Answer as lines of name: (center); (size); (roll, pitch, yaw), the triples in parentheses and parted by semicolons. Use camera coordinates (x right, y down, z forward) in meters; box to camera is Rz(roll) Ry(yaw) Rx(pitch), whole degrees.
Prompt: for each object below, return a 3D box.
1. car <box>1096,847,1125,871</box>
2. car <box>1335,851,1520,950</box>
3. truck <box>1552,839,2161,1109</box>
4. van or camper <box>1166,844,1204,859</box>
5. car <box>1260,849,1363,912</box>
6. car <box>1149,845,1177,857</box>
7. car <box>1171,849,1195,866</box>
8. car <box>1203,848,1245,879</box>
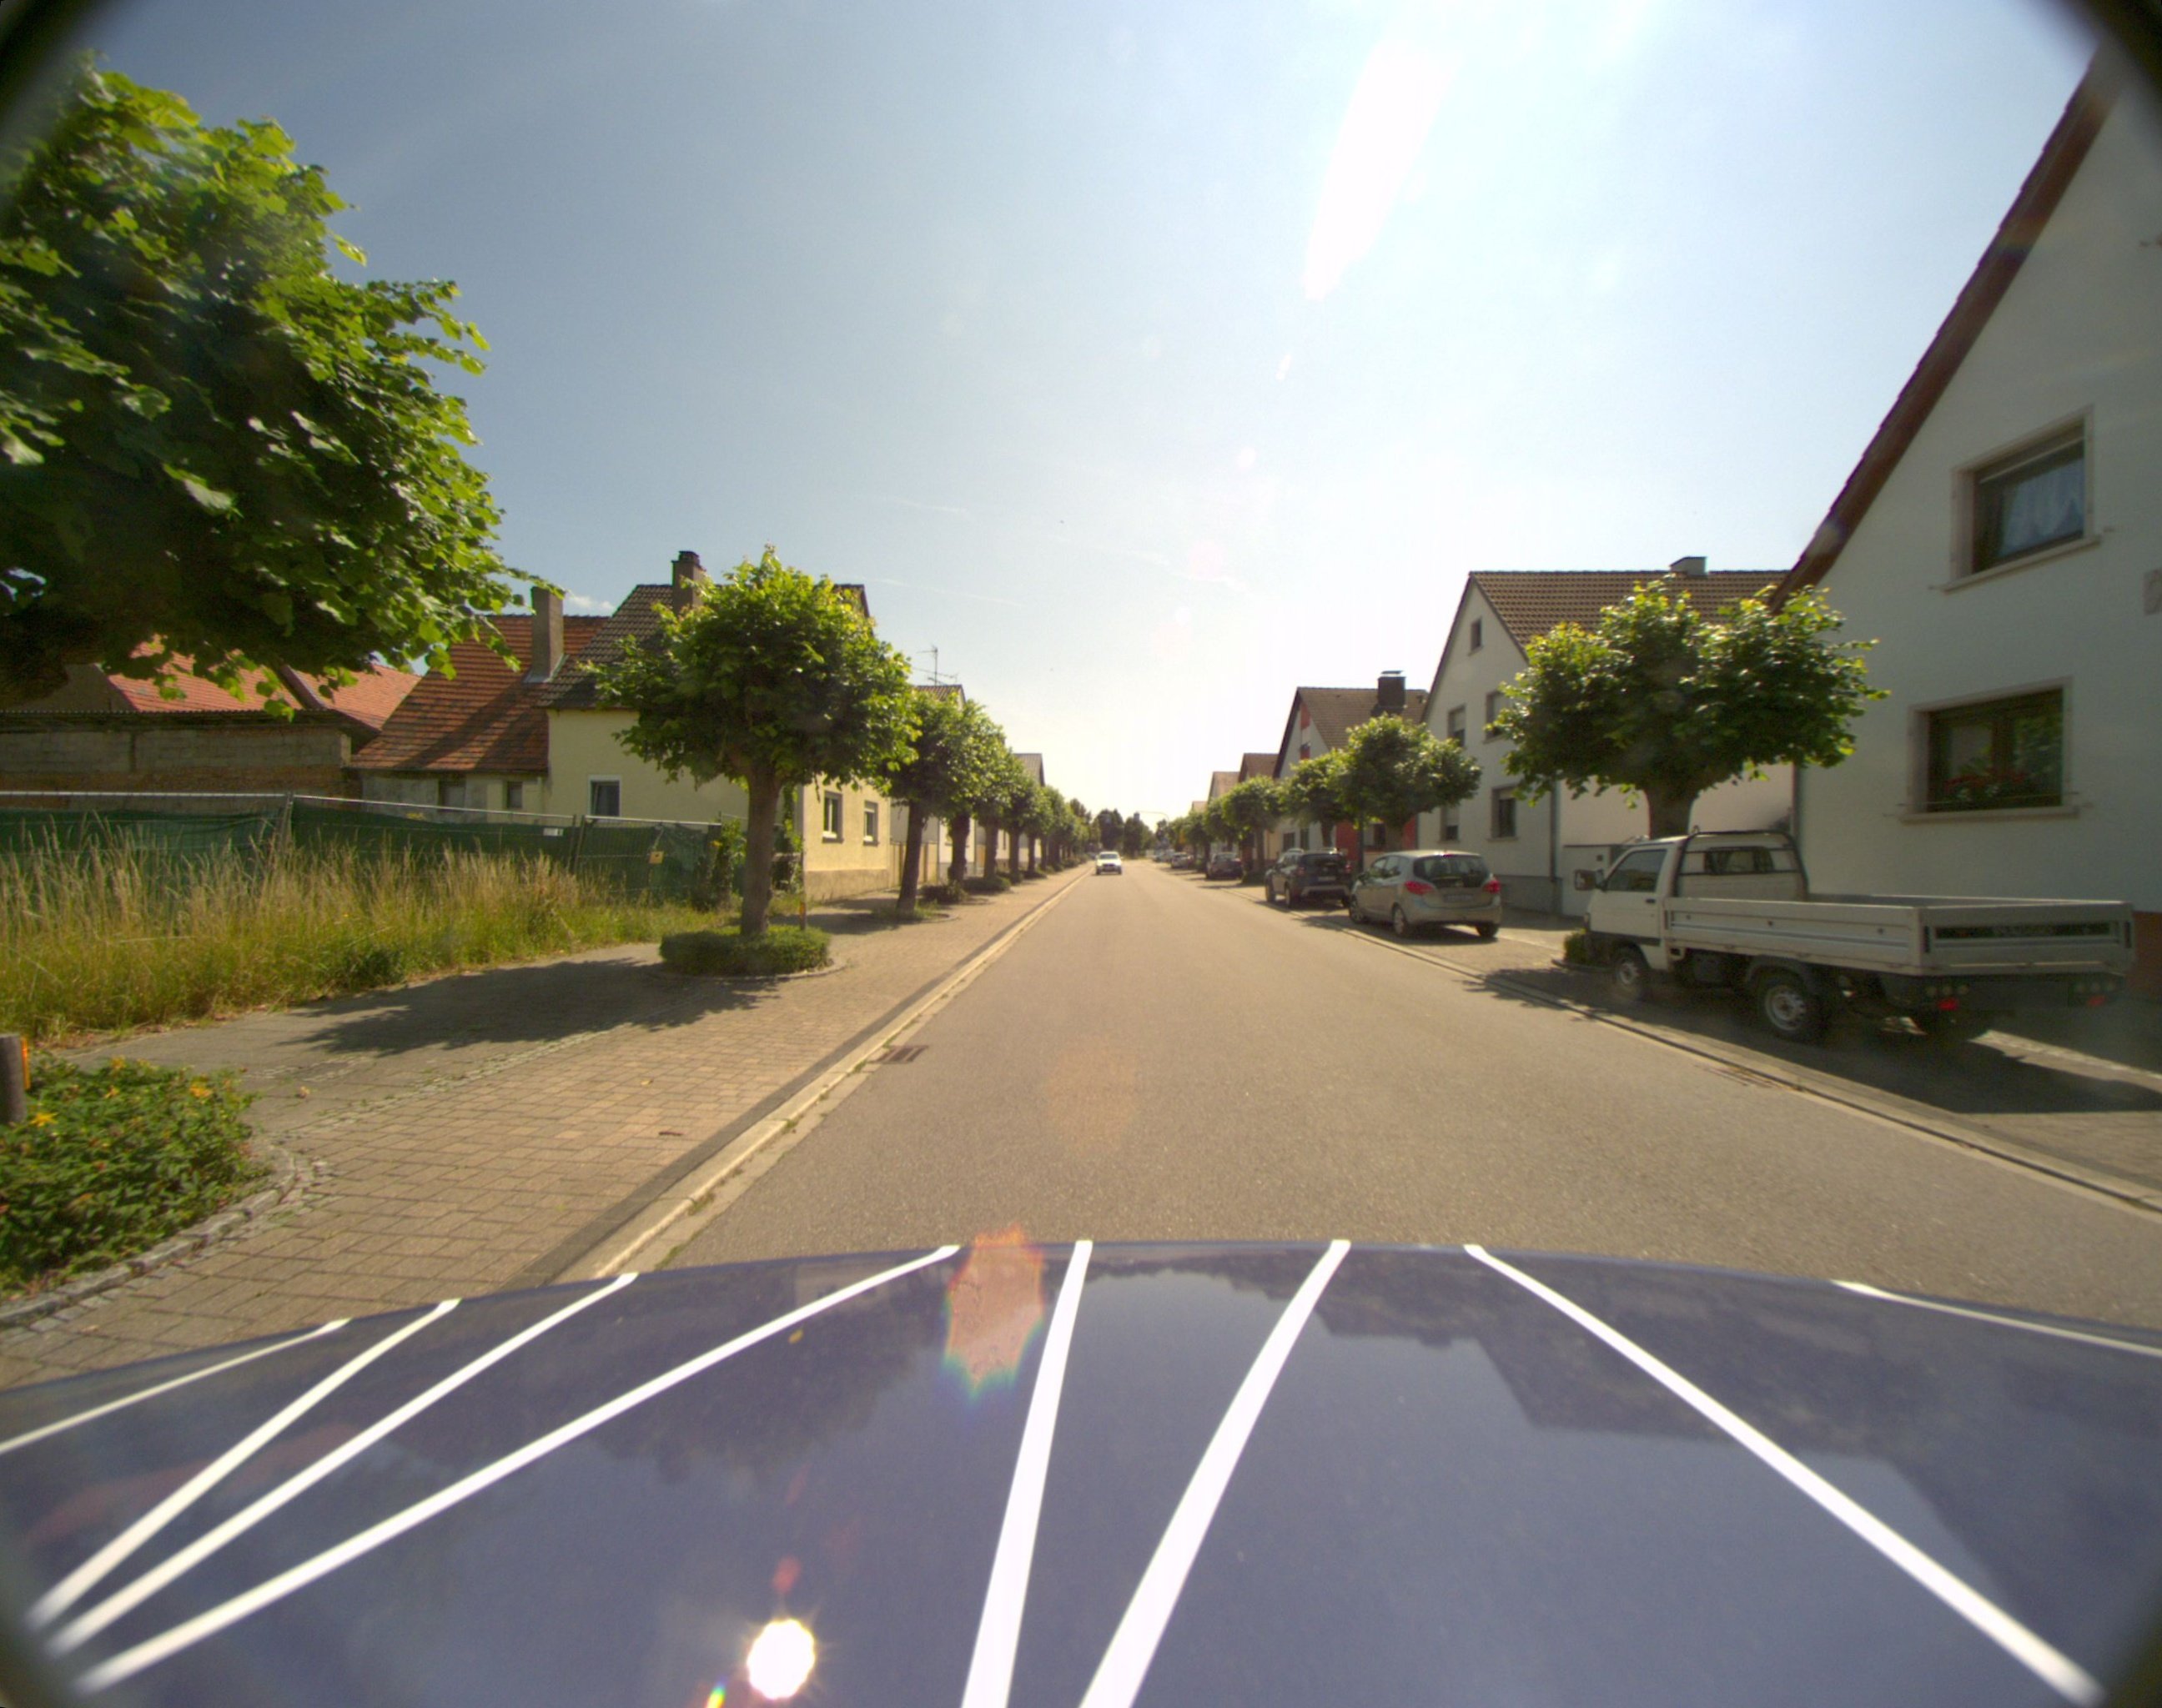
car: (2.138, 0.340, 53.999); (1.857, 1.603, 4.136); (-2, 0, 4)
car: (6.740, 0.797, 15.361); (1.857, 1.604, 4.371); (-2, 1, 2)
truck: (6.480, 0.786, 7.159); (1.580, 1.755, 4.192); (-2, 1, 2)
van or camper: (13.518, -0.340, 99.074); (4.751, 1.851, 2.000); (-2, 0, 2)
car: (6.732, 0.721, 22.667); (1.857, 1.627, 4.300); (-2, 0, 2)
car: (13.351, -0.514, 123.515); (4.250, 1.709, 1.945); (-2, 1, -3)
car: (9.578, 0.305, 71.453); (1.829, 1.474, 4.133); (-2, 1, 3)
car: (8.112, 0.510, 43.397); (1.857, 1.603, 4.136); (-2, 0, 4)
